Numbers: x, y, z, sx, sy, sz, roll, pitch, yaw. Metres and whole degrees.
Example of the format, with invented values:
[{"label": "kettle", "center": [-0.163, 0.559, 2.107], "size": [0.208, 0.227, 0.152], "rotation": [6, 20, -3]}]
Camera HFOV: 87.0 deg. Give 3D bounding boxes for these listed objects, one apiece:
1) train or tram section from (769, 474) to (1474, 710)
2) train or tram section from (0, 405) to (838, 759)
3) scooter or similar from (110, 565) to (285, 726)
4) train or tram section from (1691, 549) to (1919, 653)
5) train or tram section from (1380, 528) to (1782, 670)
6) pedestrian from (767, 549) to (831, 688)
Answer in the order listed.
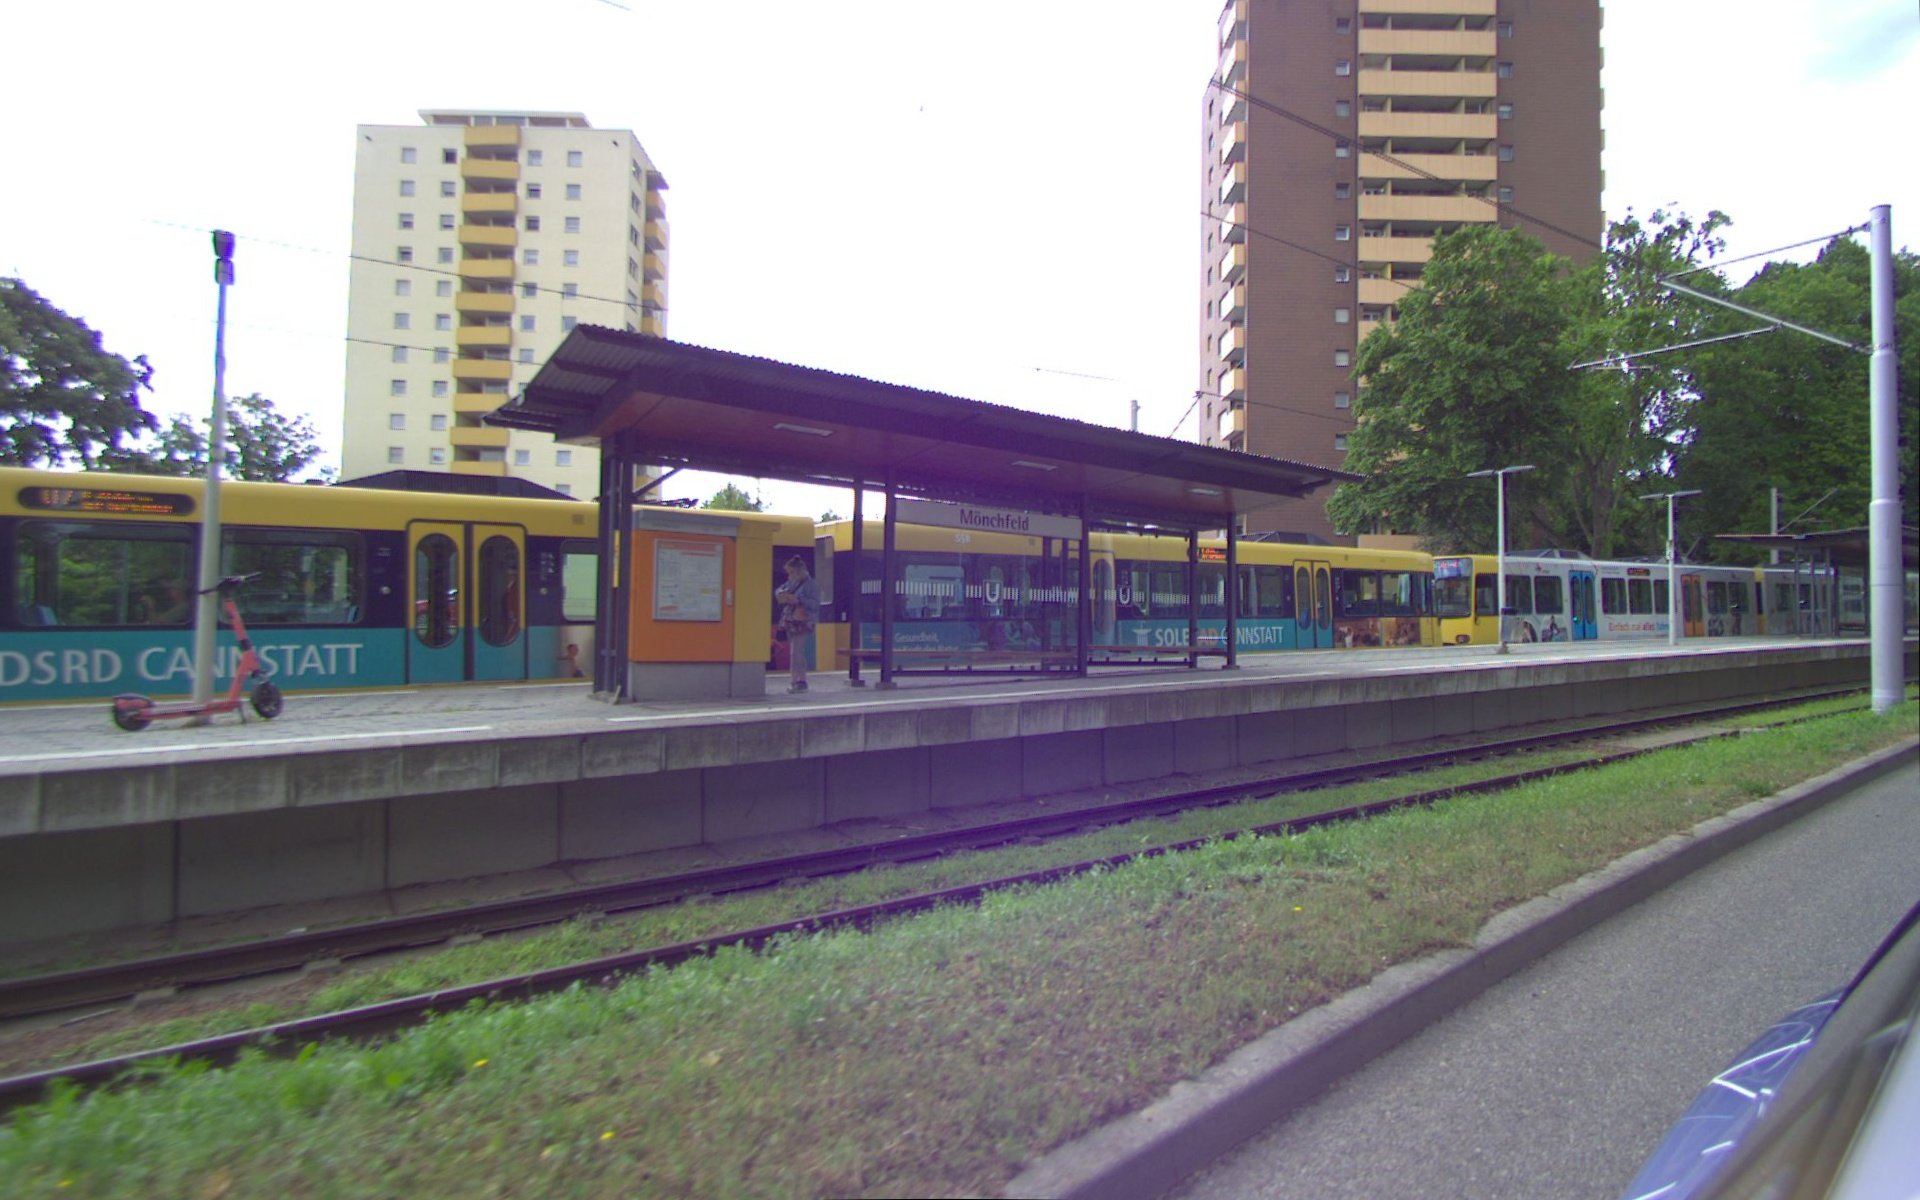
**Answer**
[{"label": "train or tram section", "center": [5.145, -0.032, 22.890], "size": [19.141, 3.786, 2.821], "rotation": [0, -3, -35]}, {"label": "train or tram section", "center": [-10.506, -0.138, 11.604], "size": [19.145, 3.636, 2.821], "rotation": [0, -3, -36]}, {"label": "scooter or similar", "center": [-6.286, 0.360, 8.393], "size": [1.124, 1.258, 0.369], "rotation": [1, -2, -36]}, {"label": "train or tram section", "center": [37.184, 0.097, 42.324], "size": [18.154, 3.786, 2.825], "rotation": [0, -3, -28]}, {"label": "train or tram section", "center": [21.059, 0.051, 33.219], "size": [18.556, 3.848, 2.824], "rotation": [0, -3, -31]}, {"label": "pedestrian", "center": [-1.916, 0.215, 12.001], "size": [0.651, 1.593, 0.626], "rotation": [0, -1, -18]}]
